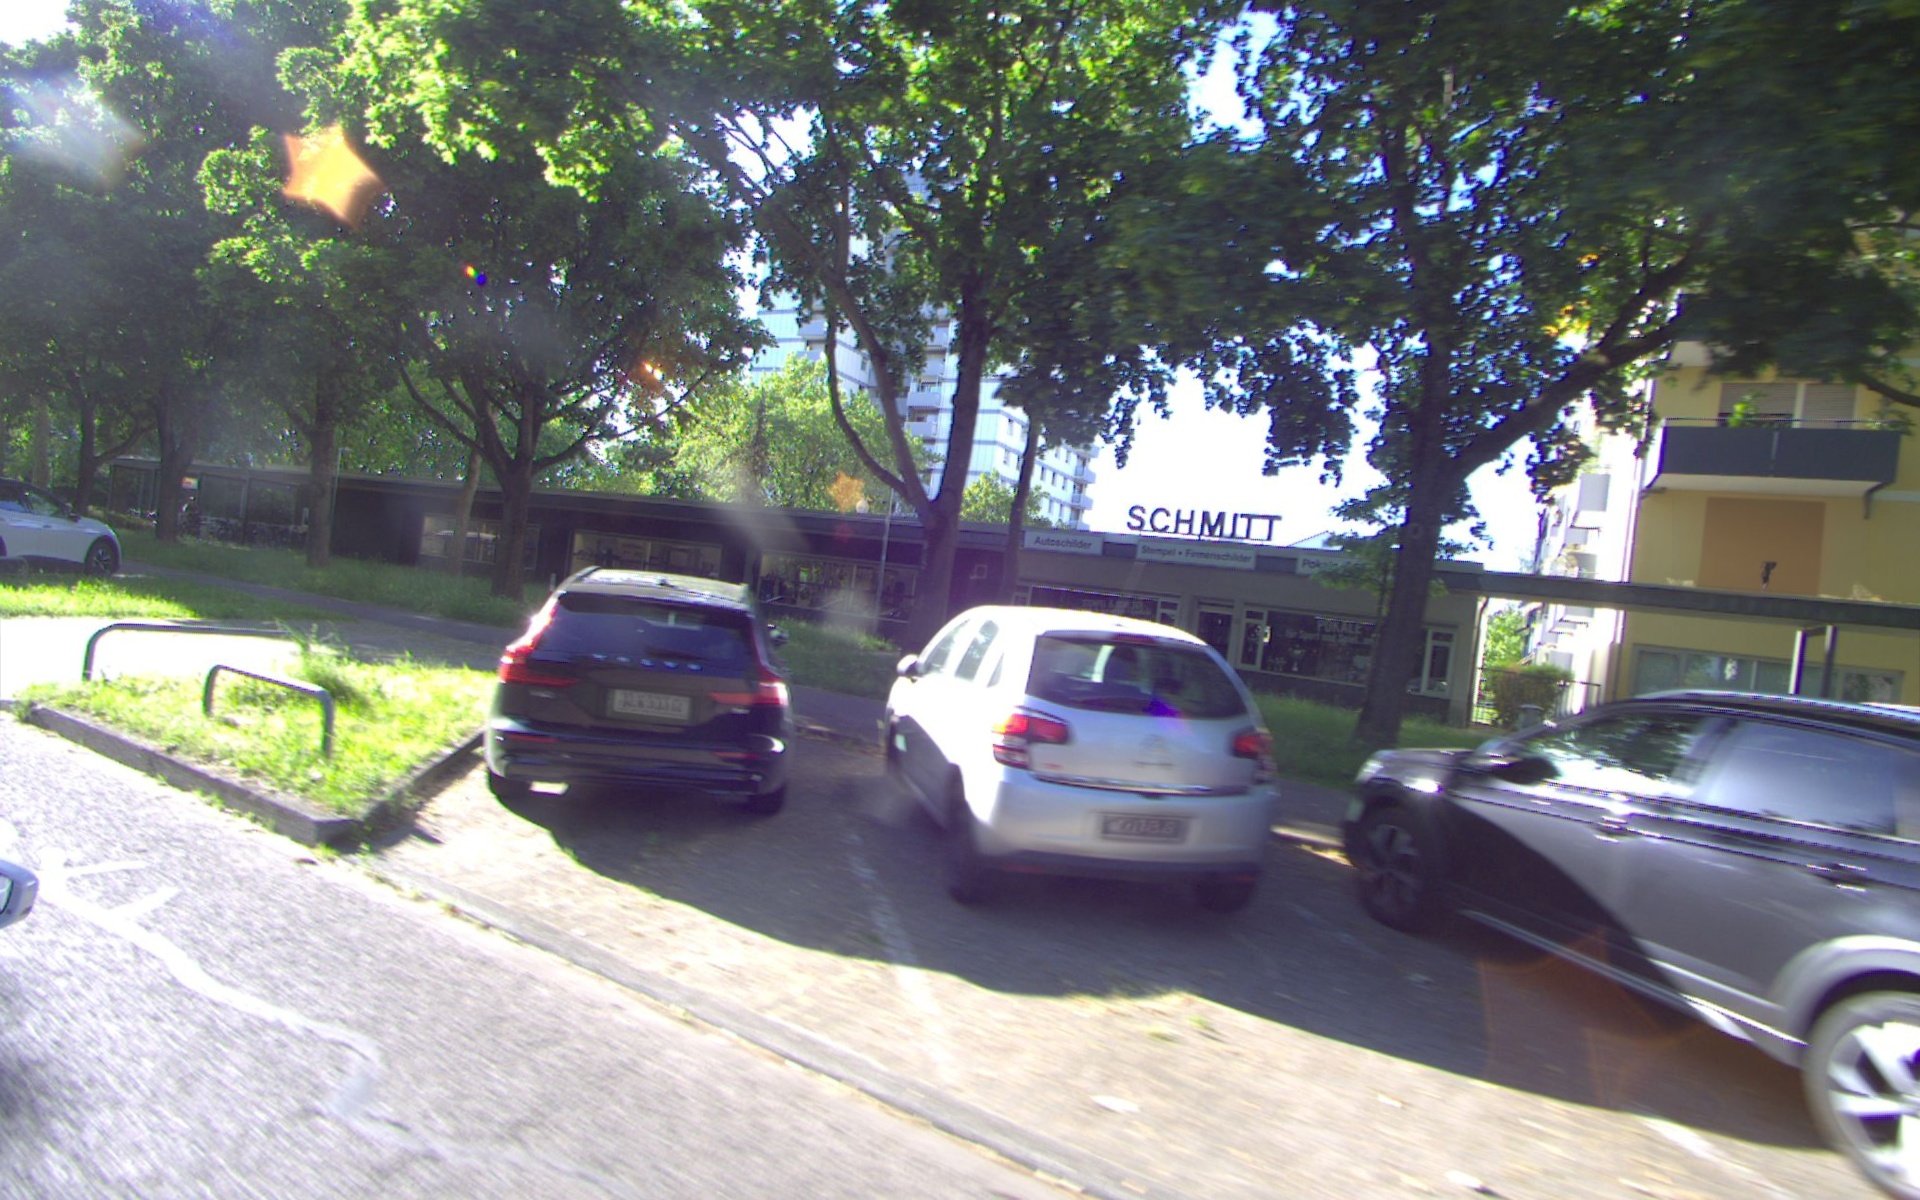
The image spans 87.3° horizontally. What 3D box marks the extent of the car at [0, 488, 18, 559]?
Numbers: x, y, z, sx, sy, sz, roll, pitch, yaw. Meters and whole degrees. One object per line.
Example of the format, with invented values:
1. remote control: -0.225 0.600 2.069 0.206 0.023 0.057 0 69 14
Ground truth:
1. car: -21.491 -1.768 19.913 1.826 1.540 4.615 7 0 -11

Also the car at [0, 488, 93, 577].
1. car: -18.613 -1.404 18.491 1.826 1.588 4.617 8 -2 -10

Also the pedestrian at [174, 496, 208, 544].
1. pedestrian: -35.088 -3.636 45.911 0.738 2.038 0.820 7 1 -9

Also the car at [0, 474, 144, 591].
1. car: -15.360 -1.139 15.792 1.826 1.700 4.617 8 -1 -10

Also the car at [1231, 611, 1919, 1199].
1. car: 3.304 1.046 4.702 1.827 1.590 4.611 7 1 -13

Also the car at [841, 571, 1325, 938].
1. car: 0.360 0.735 7.030 1.826 1.589 4.614 7 0 -12

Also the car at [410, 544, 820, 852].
1. car: -2.365 0.518 7.652 1.948 1.477 4.611 7 0 -14
